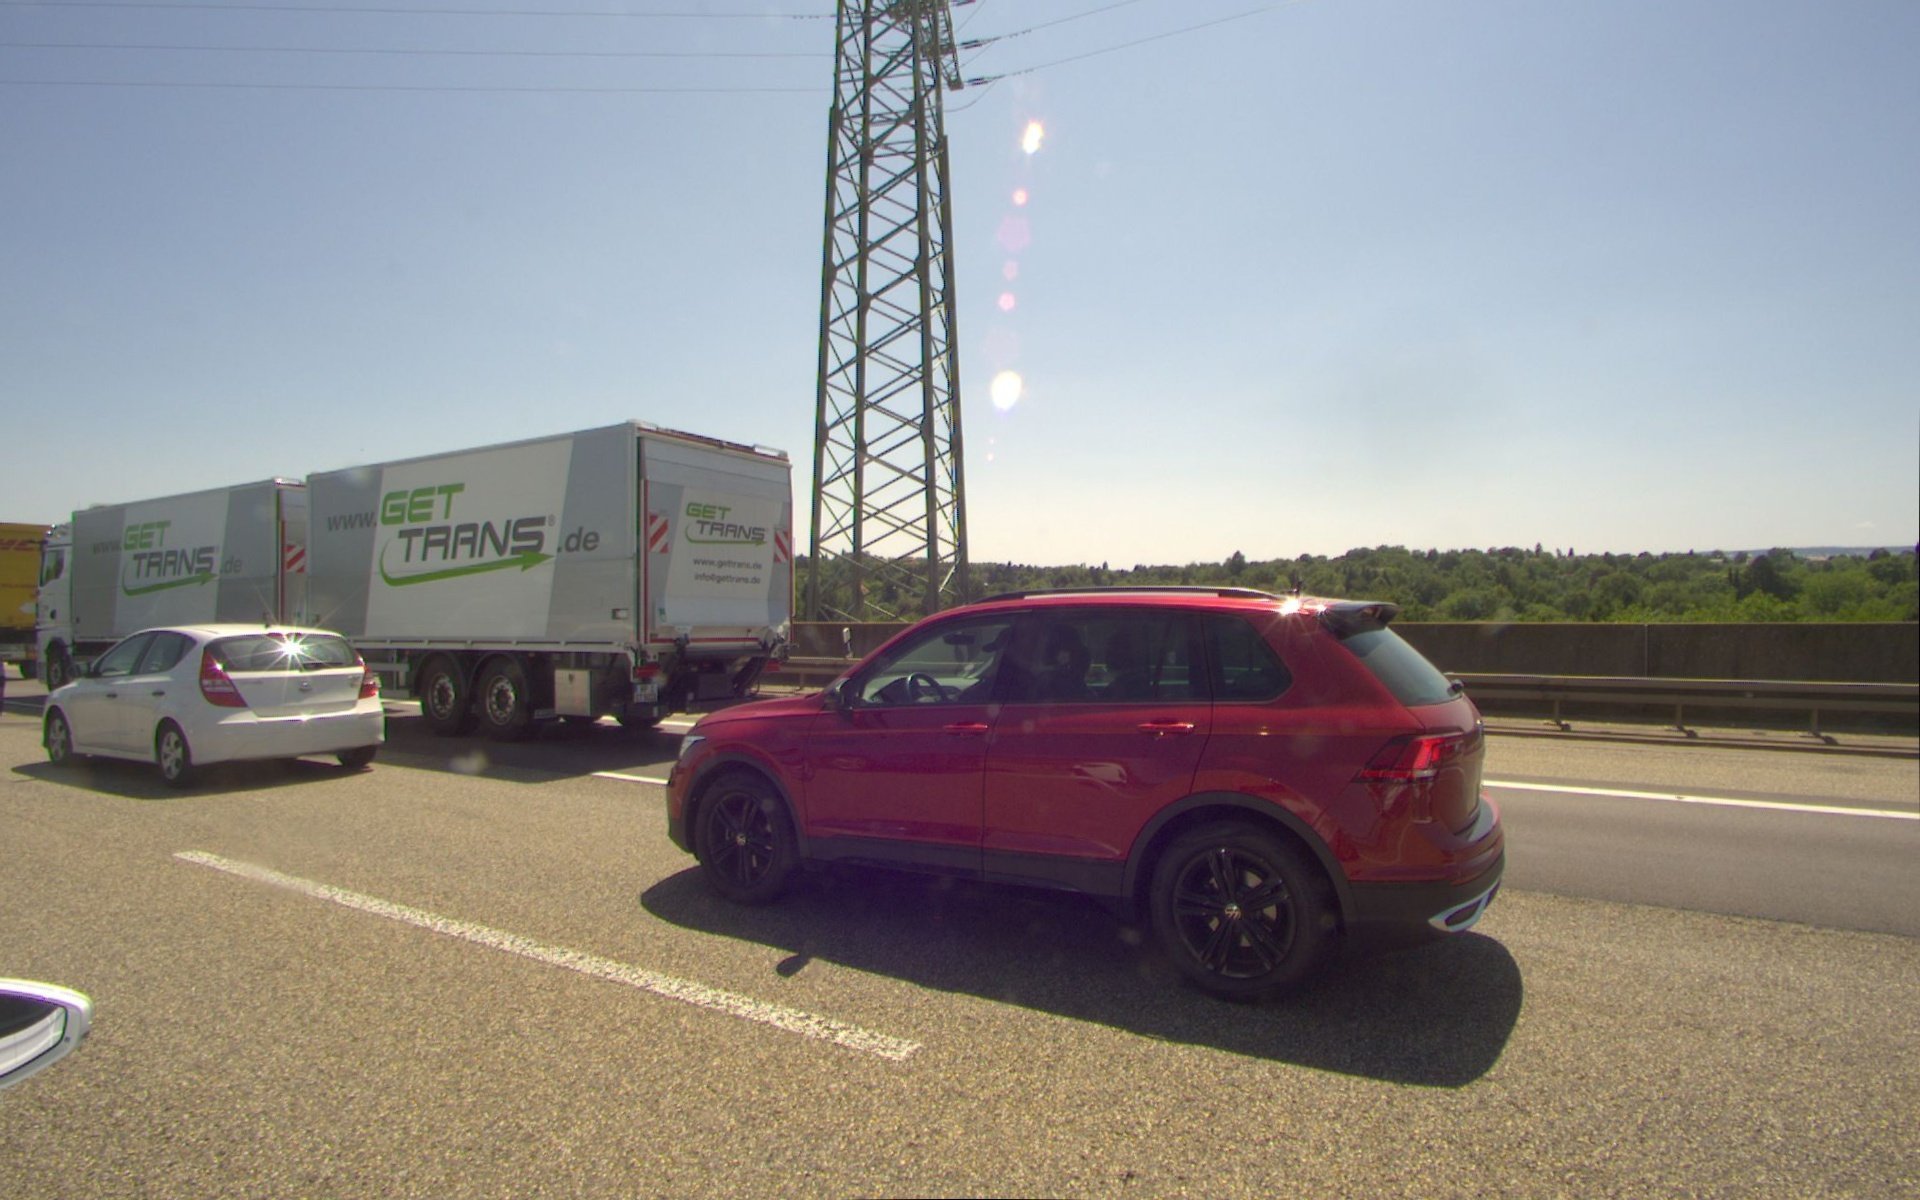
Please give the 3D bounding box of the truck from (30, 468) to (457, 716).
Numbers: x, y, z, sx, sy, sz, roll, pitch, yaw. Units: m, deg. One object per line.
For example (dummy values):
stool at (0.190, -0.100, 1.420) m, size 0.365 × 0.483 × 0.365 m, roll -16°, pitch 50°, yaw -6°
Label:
truck at (-13.927, -0.059, 18.938) m, size 10.851 × 3.696 × 2.651 m, roll 0°, pitch 0°, yaw 32°

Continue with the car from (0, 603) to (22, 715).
car at (-16.442, 0.894, 15.404) m, size 4.231 × 1.666 × 1.958 m, roll -1°, pitch -1°, yaw 32°

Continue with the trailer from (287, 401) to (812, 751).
trailer at (-5.971, -0.212, 13.964) m, size 7.899 × 3.749 × 2.693 m, roll 0°, pitch 0°, yaw 32°

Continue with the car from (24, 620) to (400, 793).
car at (-7.921, 0.955, 10.516) m, size 4.231 × 1.474 × 1.785 m, roll -1°, pitch -1°, yaw 32°

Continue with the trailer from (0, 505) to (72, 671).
trailer at (-28.573, -0.249, 28.293) m, size 8.883 × 4.293 × 2.860 m, roll -1°, pitch -1°, yaw 32°

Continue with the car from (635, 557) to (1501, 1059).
car at (0.415, 0.732, 5.224) m, size 4.163 × 1.683 × 1.772 m, roll -1°, pitch -1°, yaw 32°
